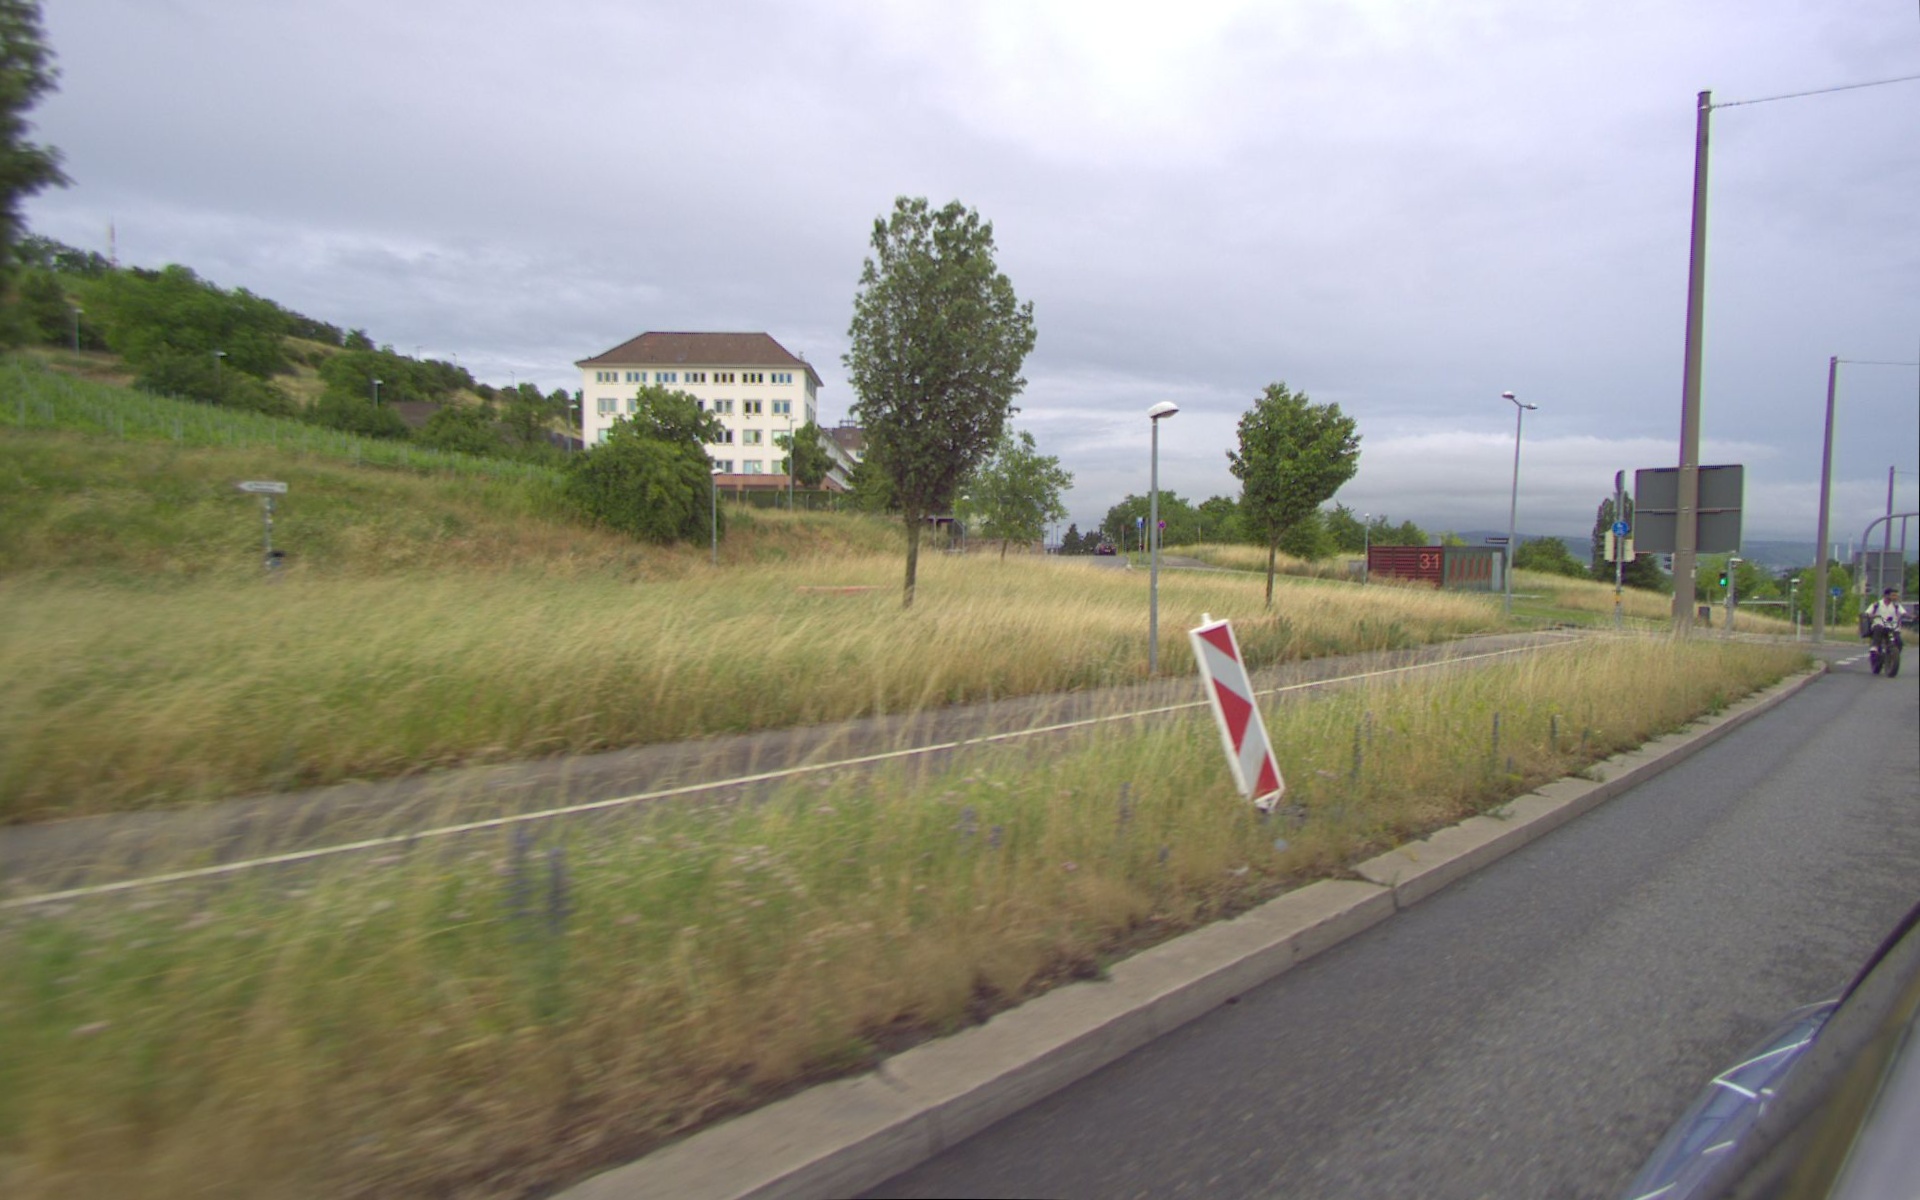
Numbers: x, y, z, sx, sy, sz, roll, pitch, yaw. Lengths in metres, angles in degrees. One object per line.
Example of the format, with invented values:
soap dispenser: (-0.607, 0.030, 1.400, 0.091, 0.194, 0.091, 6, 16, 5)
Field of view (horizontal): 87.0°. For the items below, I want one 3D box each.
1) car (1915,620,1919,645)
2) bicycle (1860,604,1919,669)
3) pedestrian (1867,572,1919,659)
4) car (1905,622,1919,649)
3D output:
car: (69.850, 2.335, 72.591, 3.757, 1.559, 1.839, -3, 1, -45)
bicycle: (17.878, 0.683, 19.226, 0.628, 1.118, 1.739, 3, 2, 24)
pedestrian: (17.920, 0.281, 19.284, 0.628, 1.590, 0.888, 3, 2, 24)
car: (61.196, 2.251, 63.986, 1.994, 1.663, 4.553, 0, -1, 44)
